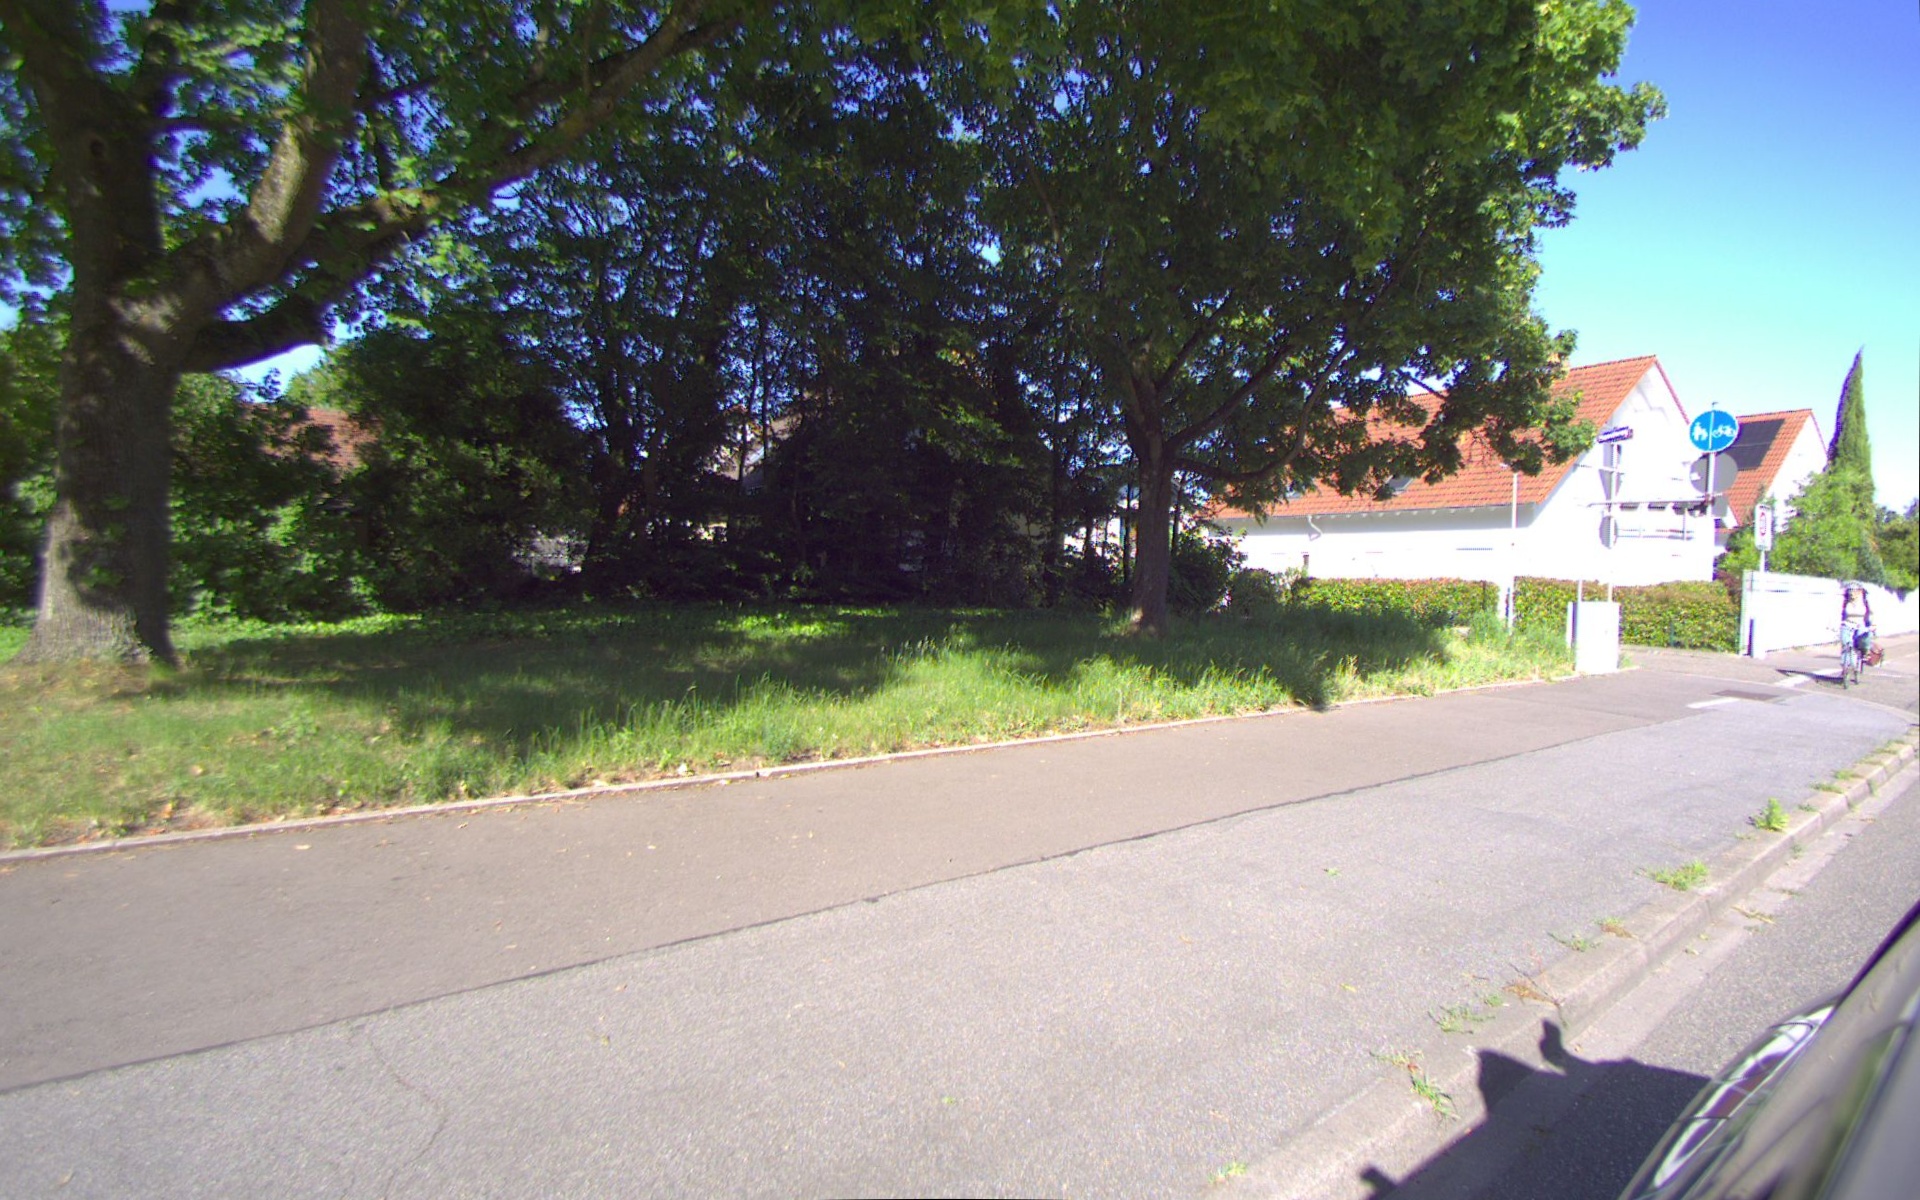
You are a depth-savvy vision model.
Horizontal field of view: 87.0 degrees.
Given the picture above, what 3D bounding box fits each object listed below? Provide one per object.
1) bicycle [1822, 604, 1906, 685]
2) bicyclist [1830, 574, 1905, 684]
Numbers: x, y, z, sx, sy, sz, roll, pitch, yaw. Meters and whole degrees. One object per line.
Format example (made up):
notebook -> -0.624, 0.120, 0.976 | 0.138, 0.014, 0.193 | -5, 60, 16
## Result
bicycle -> 14.477, 0.687, 16.188 | 2.101, 1.169, 0.576 | 1, 4, -38
bicyclist -> 14.512, 0.439, 16.185 | 0.964, 1.652, 0.632 | -1, 5, -38
